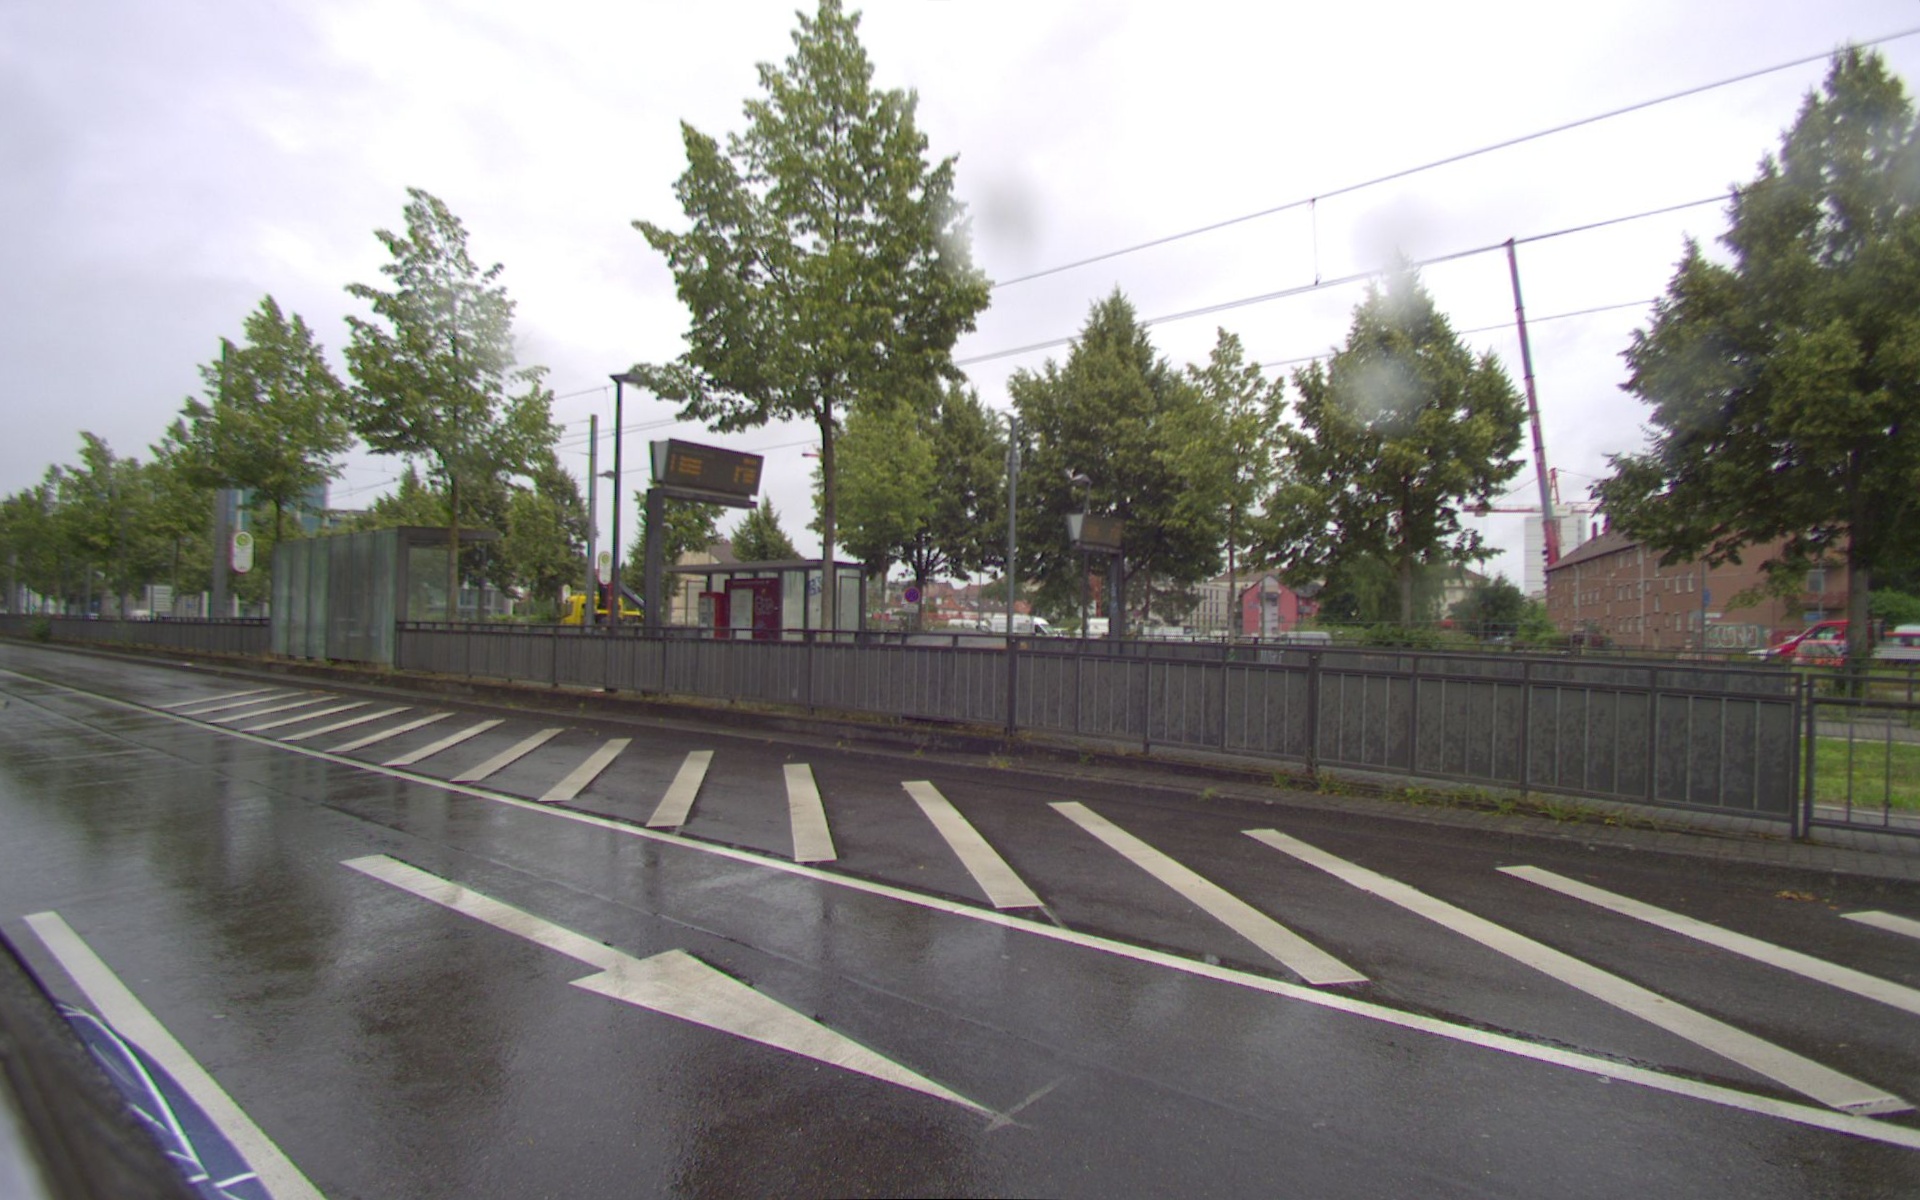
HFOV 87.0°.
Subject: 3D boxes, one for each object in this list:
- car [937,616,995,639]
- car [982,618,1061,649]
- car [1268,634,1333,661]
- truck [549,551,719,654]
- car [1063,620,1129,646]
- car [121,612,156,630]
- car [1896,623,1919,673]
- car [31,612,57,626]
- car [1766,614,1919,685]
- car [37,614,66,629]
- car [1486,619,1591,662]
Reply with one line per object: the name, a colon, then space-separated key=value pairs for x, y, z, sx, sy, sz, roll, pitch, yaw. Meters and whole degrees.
car: x=0.591 y=2.944 z=108.325 sx=6.123 sy=2.323 sz=1.978 roll=0 pitch=0 yaw=32
car: x=5.173 y=2.801 z=86.022 sx=6.735 sy=2.480 sz=1.975 roll=0 pitch=0 yaw=37
car: x=26.241 y=3.650 z=77.974 sx=4.415 sy=1.891 sz=1.855 roll=0 pitch=0 yaw=34
truck: x=-13.592 y=0.063 z=41.636 sx=9.185 sy=3.806 sz=2.657 roll=0 pitch=1 yaw=44
car: x=11.902 y=2.864 z=88.822 sx=5.412 sy=2.067 sz=1.976 roll=0 pitch=0 yaw=37
car: x=-85.245 y=2.167 z=104.967 sx=3.995 sy=1.759 sz=1.974 roll=0 pitch=0 yaw=38
car: x=45.915 y=2.167 z=44.993 sx=1.597 sy=2.296 sz=6.114 roll=2 pitch=-2 yaw=-37
car: x=-122.774 y=2.556 z=135.659 sx=3.995 sy=1.759 sz=1.974 roll=0 pitch=0 yaw=38
car: x=33.543 y=1.764 z=36.702 sx=1.597 sy=2.489 sz=6.500 roll=2 pitch=-2 yaw=-39
car: x=-109.897 y=2.572 z=122.449 sx=3.995 sy=1.759 sz=1.974 roll=0 pitch=0 yaw=38
car: x=35.744 y=2.473 z=62.612 sx=5.482 sy=2.471 sz=1.976 roll=0 pitch=0 yaw=36
